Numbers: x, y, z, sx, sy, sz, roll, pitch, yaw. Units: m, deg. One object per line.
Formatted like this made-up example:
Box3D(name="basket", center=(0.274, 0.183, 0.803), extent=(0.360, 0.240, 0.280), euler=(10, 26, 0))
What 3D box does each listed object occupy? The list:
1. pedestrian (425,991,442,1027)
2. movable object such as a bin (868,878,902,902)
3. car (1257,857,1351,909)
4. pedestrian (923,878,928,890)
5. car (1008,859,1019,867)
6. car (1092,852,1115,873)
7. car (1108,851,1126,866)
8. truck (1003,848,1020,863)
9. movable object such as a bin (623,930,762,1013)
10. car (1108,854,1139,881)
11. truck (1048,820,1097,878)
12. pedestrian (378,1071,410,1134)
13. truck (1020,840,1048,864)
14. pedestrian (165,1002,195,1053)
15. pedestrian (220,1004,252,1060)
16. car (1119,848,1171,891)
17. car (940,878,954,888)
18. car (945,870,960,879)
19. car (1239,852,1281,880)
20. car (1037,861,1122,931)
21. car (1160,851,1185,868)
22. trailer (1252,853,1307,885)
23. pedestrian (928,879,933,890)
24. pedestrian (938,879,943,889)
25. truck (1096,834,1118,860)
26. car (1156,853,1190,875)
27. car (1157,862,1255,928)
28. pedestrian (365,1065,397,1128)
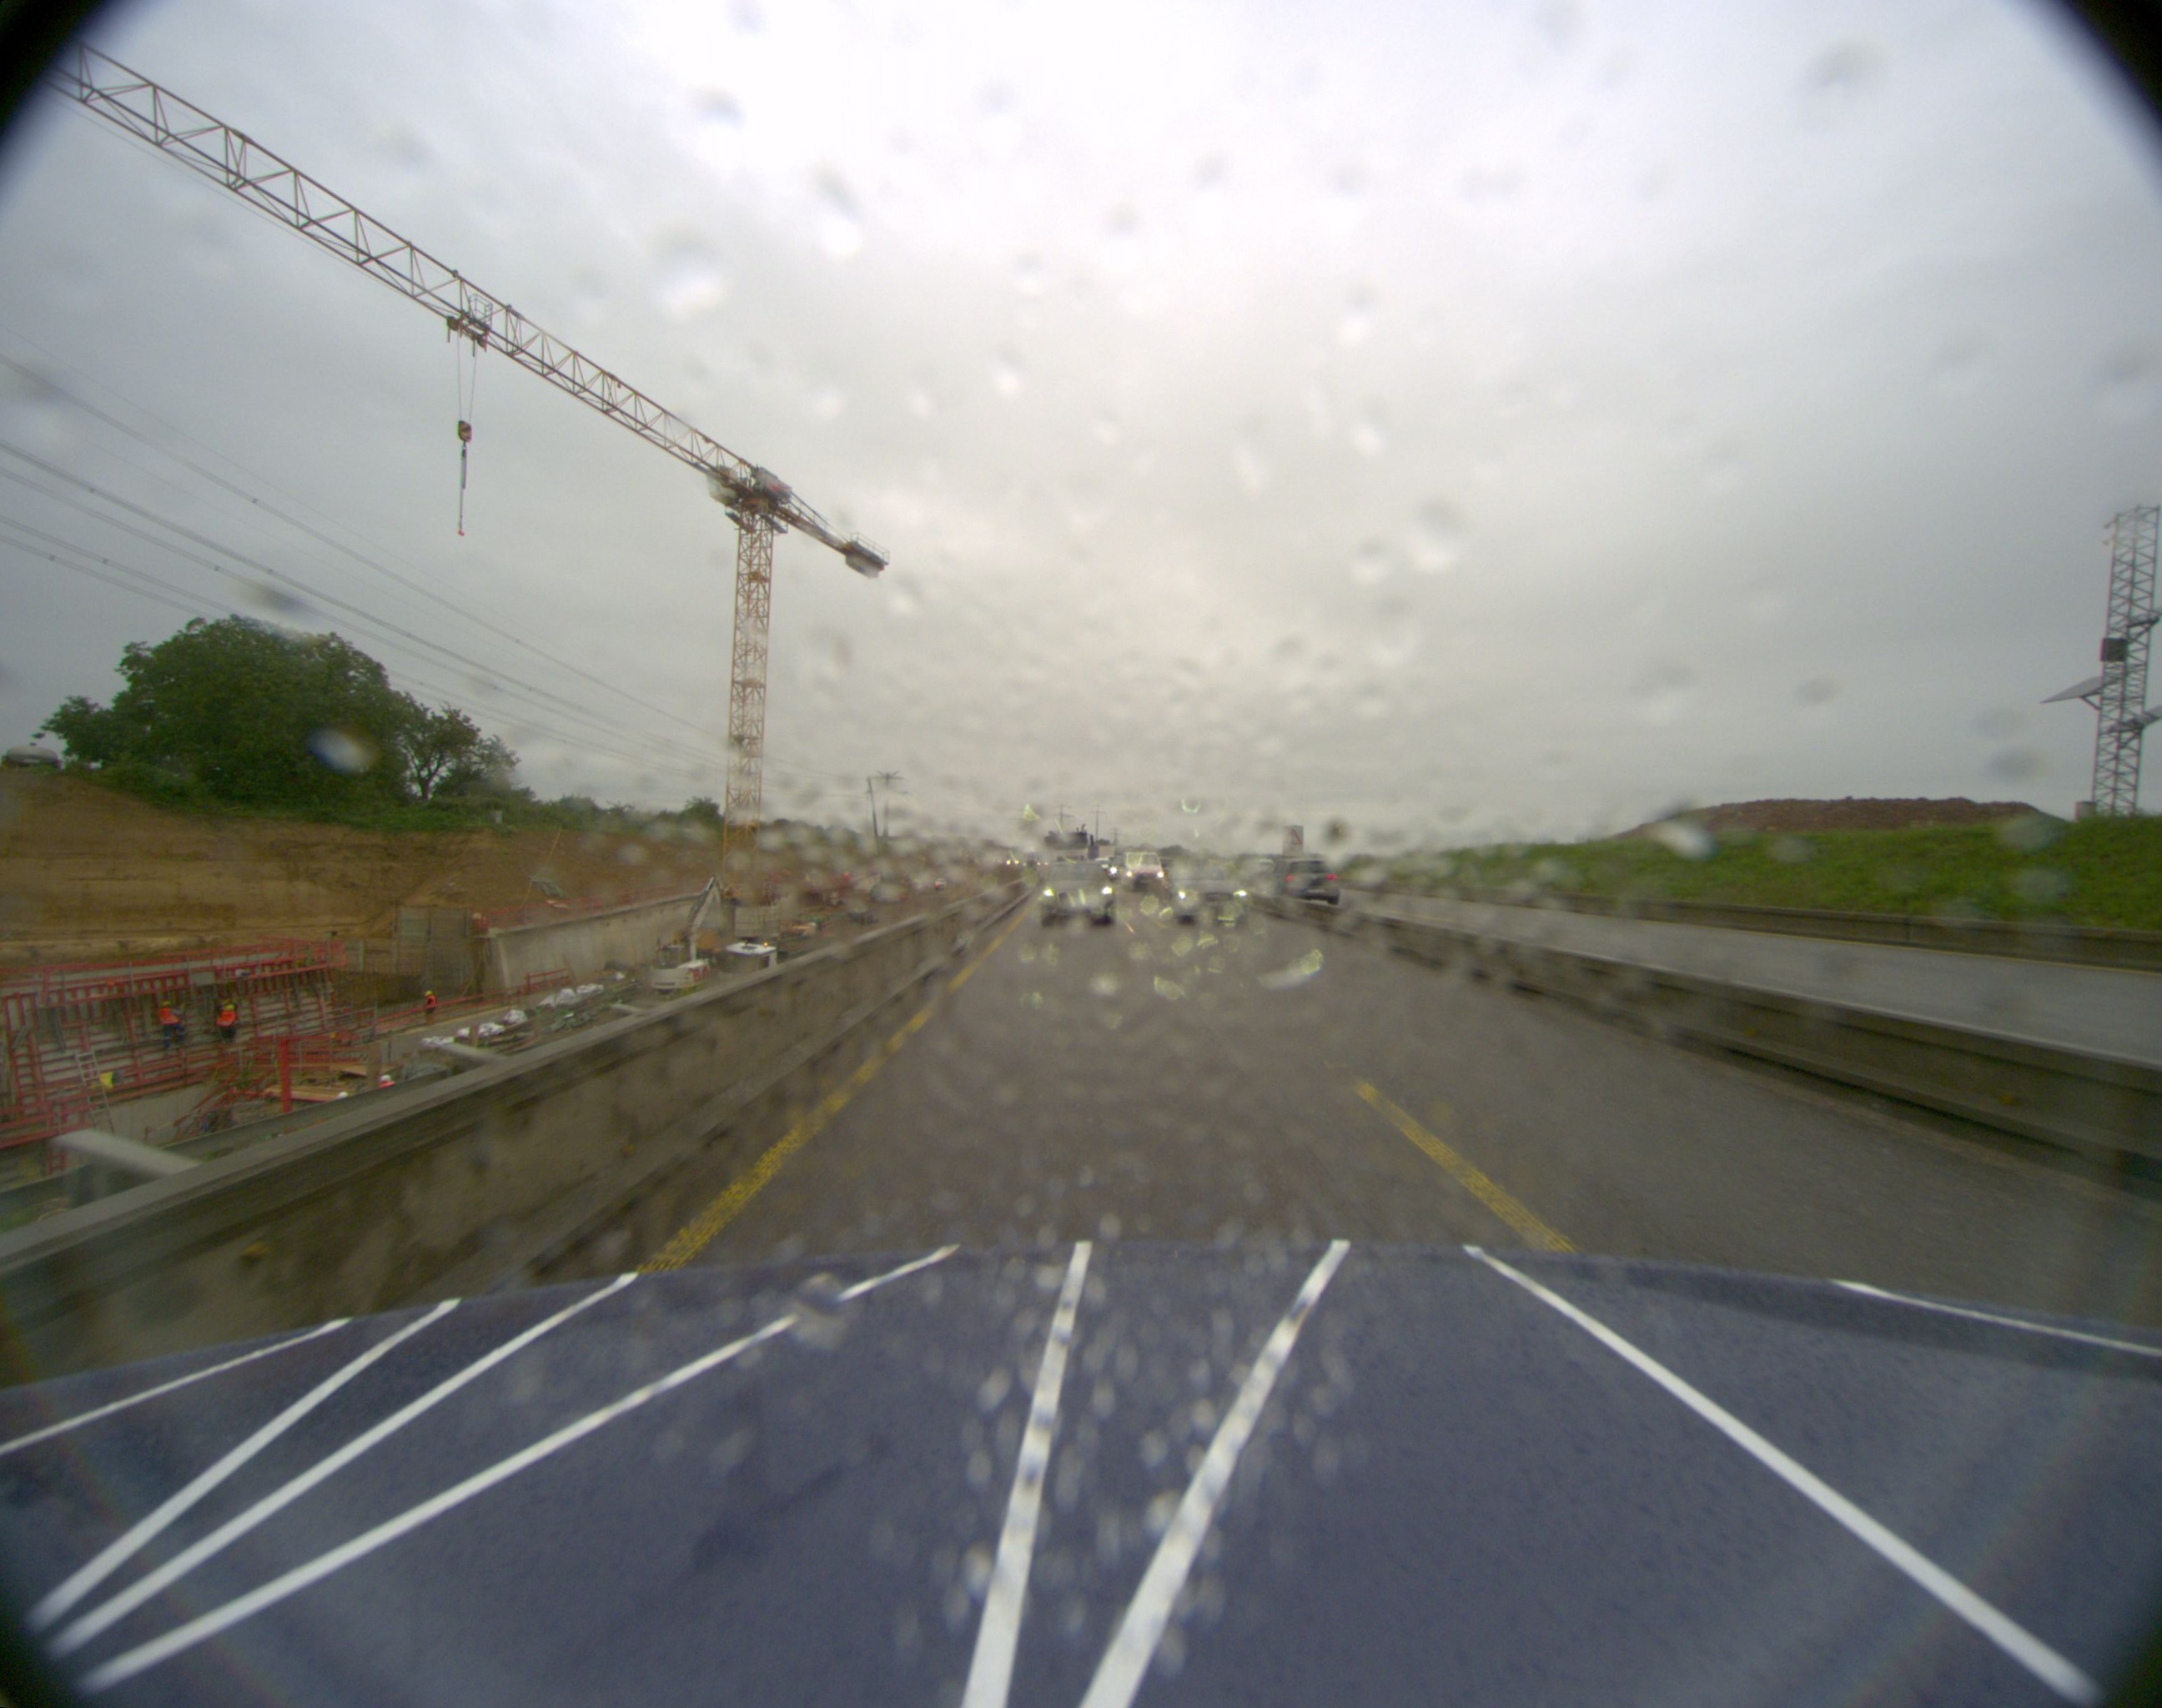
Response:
Box3D(name="pedestrian", center=(-33.234, 7.932, 38.996), extent=(0.489, 1.750, 0.481), euler=(1, 1, 0))
Box3D(name="movable object such as a bin", center=(-27.421, 4.995, 106.295), extent=(3.501, 2.865, 3.999), euler=(5, 1, -1))
Box3D(name="car", center=(6.884, 0.835, 23.829), extent=(1.793, 1.418, 3.707), euler=(-2, 0, 0))
Box3D(name="pedestrian", center=(-25.241, 4.886, 123.129), extent=(0.614, 1.848, 0.666), euler=(1, 1, 1))
Box3D(name="car", center=(-13.312, 1.808, 149.117), extent=(1.789, 1.418, 3.999), euler=(-2, 0, 0))
Box3D(name="car", center=(1.895, 0.708, 65.097), extent=(1.789, 1.744, 3.999), euler=(-2, 0, 0))
Box3D(name="car", center=(4.312, 0.498, 90.996), extent=(1.871, 1.744, 3.999), euler=(-2, 0, 0))
Box3D(name="truck", center=(-18.458, 0.403, 202.681), extent=(3.545, 3.871, 8.334), euler=(-2, 0, 0))
Box3D(name="movable object such as a bin", center=(-21.337, 6.339, 42.237), extent=(3.514, 3.405, 6.655), euler=(-1, 2, 9))
Box3D(name="car", center=(2.671, 0.835, 48.453), extent=(1.626, 1.583, 3.999), euler=(-2, 0, 0))
Box3D(name="truck", center=(-0.625, -0.357, 50.267), extent=(2.856, 3.462, 8.641), euler=(-1, 1, -1))
Box3D(name="pedestrian", center=(-22.331, 8.063, 24.698), extent=(0.603, 1.894, 0.481), euler=(1, 1, 0))
Box3D(name="truck", center=(-9.385, -0.306, 149.170), extent=(4.321, 4.319, 13.398), euler=(-2, 0, -8))
Box3D(name="pedestrian", center=(-34.237, 6.584, 28.872), extent=(0.488, 1.793, 0.583), euler=(-5, 2, 40))
Box3D(name="pedestrian", center=(-33.966, 7.148, 30.561), extent=(0.489, 2.087, 0.481), euler=(-6, 1, 0))
Box3D(name="car", center=(3.102, 0.681, 37.659), extent=(2.069, 1.933, 5.155), euler=(-1, 1, 0))
Box3D(name="car", center=(-23.329, 5.063, 132.612), extent=(1.860, 1.609, 4.079), euler=(0, 1, -1))
Box3D(name="car", center=(-25.867, 4.111, 153.556), extent=(2.351, 1.609, 4.858), euler=(0, 1, -1))
Box3D(name="car", center=(9.841, 0.636, 42.016), extent=(1.361, 1.456, 3.716), euler=(0, 1, 0))
Box3D(name="car", center=(-0.056, 0.959, 19.147), extent=(1.874, 1.481, 4.260), euler=(-1, 0, 0))
Box3D(name="car", center=(9.027, 0.542, 75.376), extent=(1.826, 1.616, 4.751), euler=(-2, 0, 0))
Box3D(name="trailer", center=(9.907, 0.709, 38.192), extent=(1.634, 1.456, 4.160), euler=(0, 1, -1))
Box3D(name="pedestrian", center=(-24.341, 4.939, 123.256), extent=(0.614, 1.671, 0.603), euler=(-2, 1, 1))
Box3D(name="pedestrian", center=(-23.551, 4.987, 127.098), extent=(0.614, 1.671, 0.603), euler=(-2, 1, 1))
Box3D(name="truck", center=(4.243, -1.194, 125.951), extent=(3.227, 4.072, 9.200), euler=(-2, 0, 0))
Box3D(name="car", center=(6.914, 0.732, 57.502), extent=(1.947, 1.584, 4.308), euler=(-1, 1, 0))
Box3D(name="car", center=(3.002, 0.938, 18.999), extent=(1.804, 1.375, 4.087), euler=(-1, 1, 1))
Box3D(name="pedestrian", center=(-23.172, 8.018, 25.145), extent=(0.603, 1.894, 0.481), euler=(2, 1, 0))
